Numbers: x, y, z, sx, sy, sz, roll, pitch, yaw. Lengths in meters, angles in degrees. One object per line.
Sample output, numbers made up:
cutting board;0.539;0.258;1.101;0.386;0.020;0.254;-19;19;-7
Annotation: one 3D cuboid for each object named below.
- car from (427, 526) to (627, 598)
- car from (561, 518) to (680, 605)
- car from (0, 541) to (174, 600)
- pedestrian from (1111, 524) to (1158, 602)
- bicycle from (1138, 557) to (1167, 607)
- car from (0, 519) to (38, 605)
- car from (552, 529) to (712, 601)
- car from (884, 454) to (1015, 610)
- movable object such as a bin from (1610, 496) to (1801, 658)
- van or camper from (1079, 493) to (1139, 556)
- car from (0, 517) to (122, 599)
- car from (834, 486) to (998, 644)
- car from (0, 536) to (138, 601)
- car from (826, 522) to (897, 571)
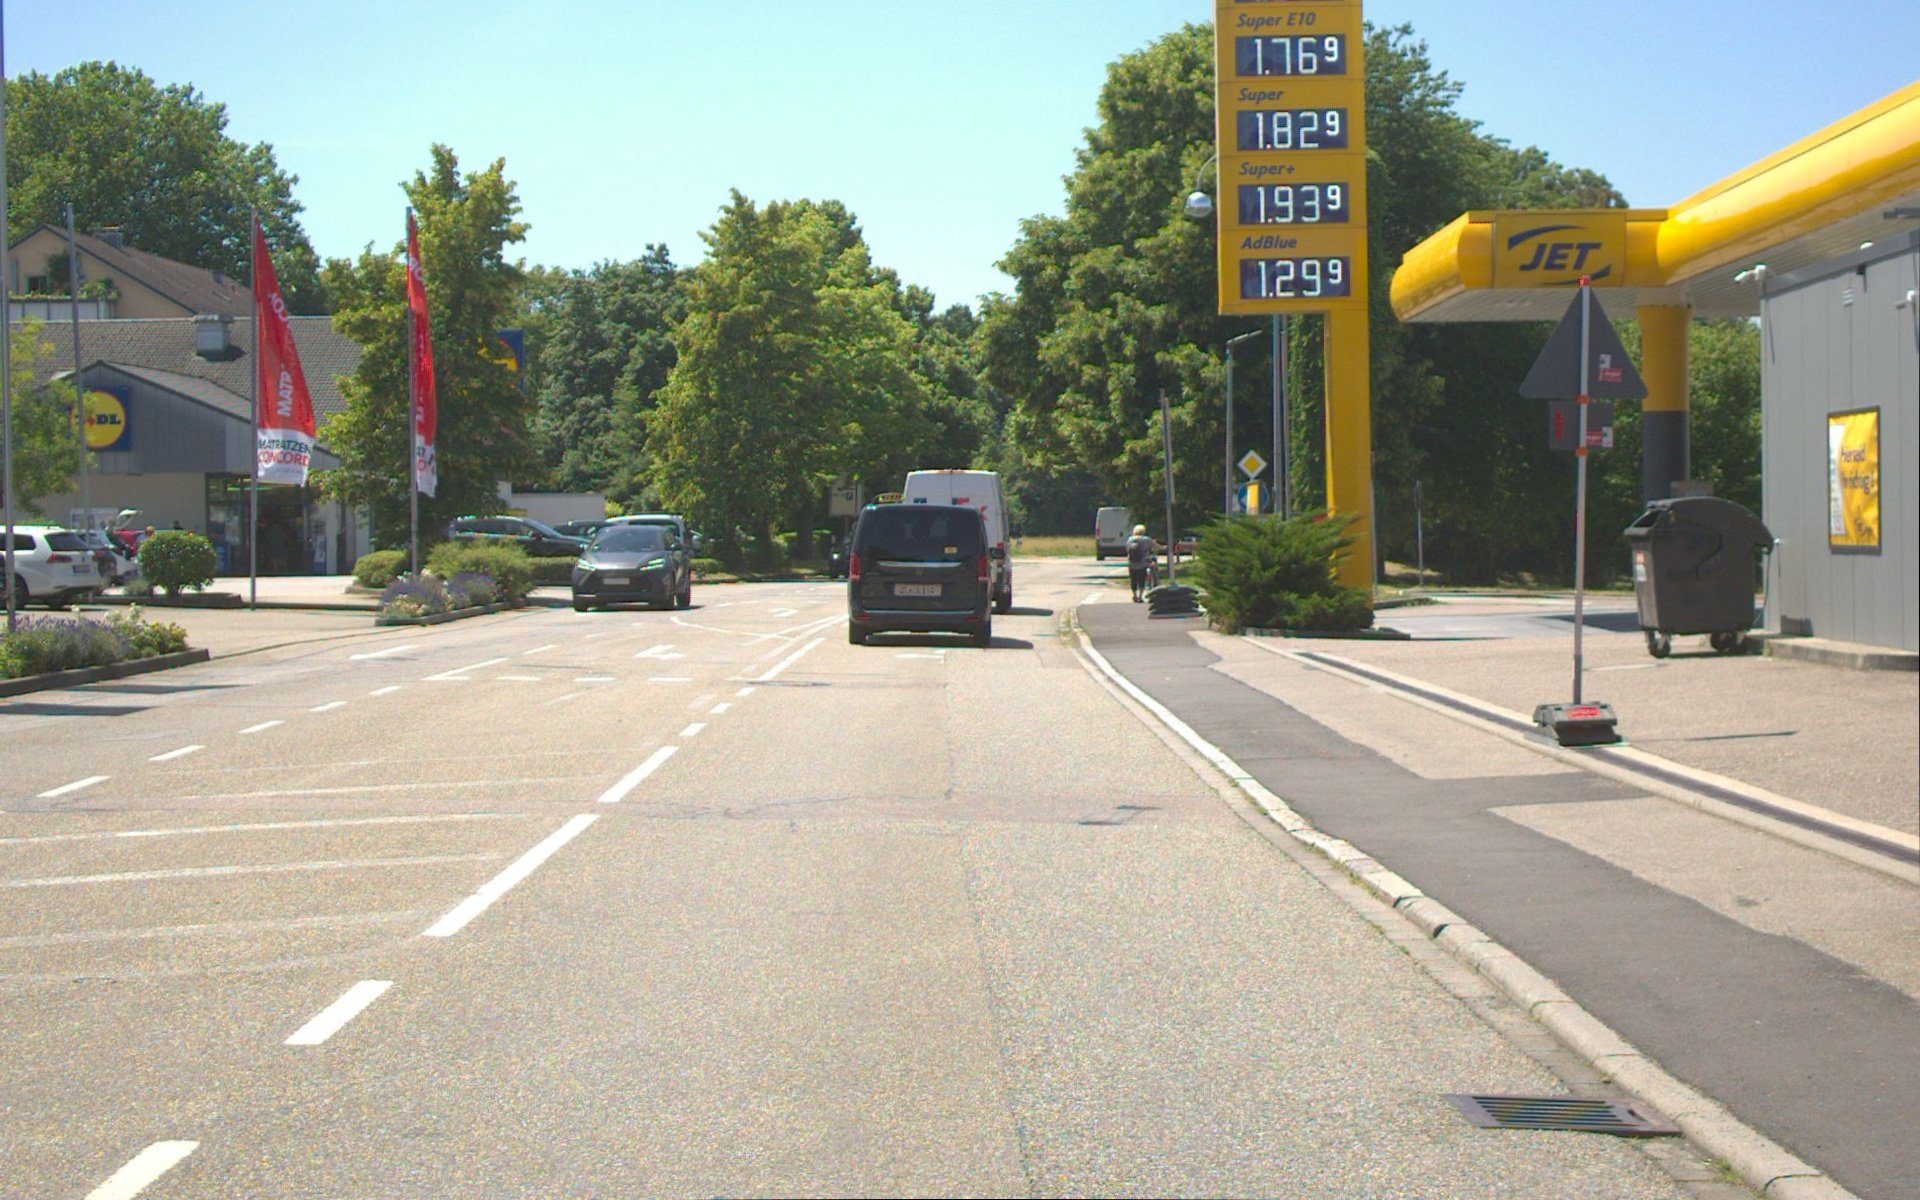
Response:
car;-11.164;-0.983;88.820;4.709;1.756;2.098;1;0;8
car;-6.252;-0.724;63.648;1.762;1.522;4.138;-1;1;0
car;-23.656;-0.791;93.117;4.312;1.525;1.828;1;0;0
pedestrian;3.226;-0.683;63.426;0.769;1.416;0.867;1;1;8
bicycle;3.559;-0.342;63.487;0.378;0.909;1.597;1;1;8
car;-18.206;-0.685;59.889;3.629;1.469;1.998;1;1;19
car;-9.426;-0.990;98.973;4.356;1.973;1.905;1;0;2
car;-0.148;-1.229;63.289;2.078;2.693;4.666;2;1;3
movable object such as a bin;6.942;-0.222;32.116;1.434;1.433;1.468;-2;1;0
van or camper;7.240;-3.662;167.196;2.632;2.919;5.207;1;0;0
car;-17.645;-0.791;62.680;4.187;1.441;1.978;1;1;16
car;-0.538;-0.474;46.397;1.993;1.946;5.005;2;1;1
car;-24.132;-0.845;90.766;4.312;1.649;2.114;1;0;0
car;-2.939;-1.596;103.677;1.932;1.396;4.689;1;0;1
